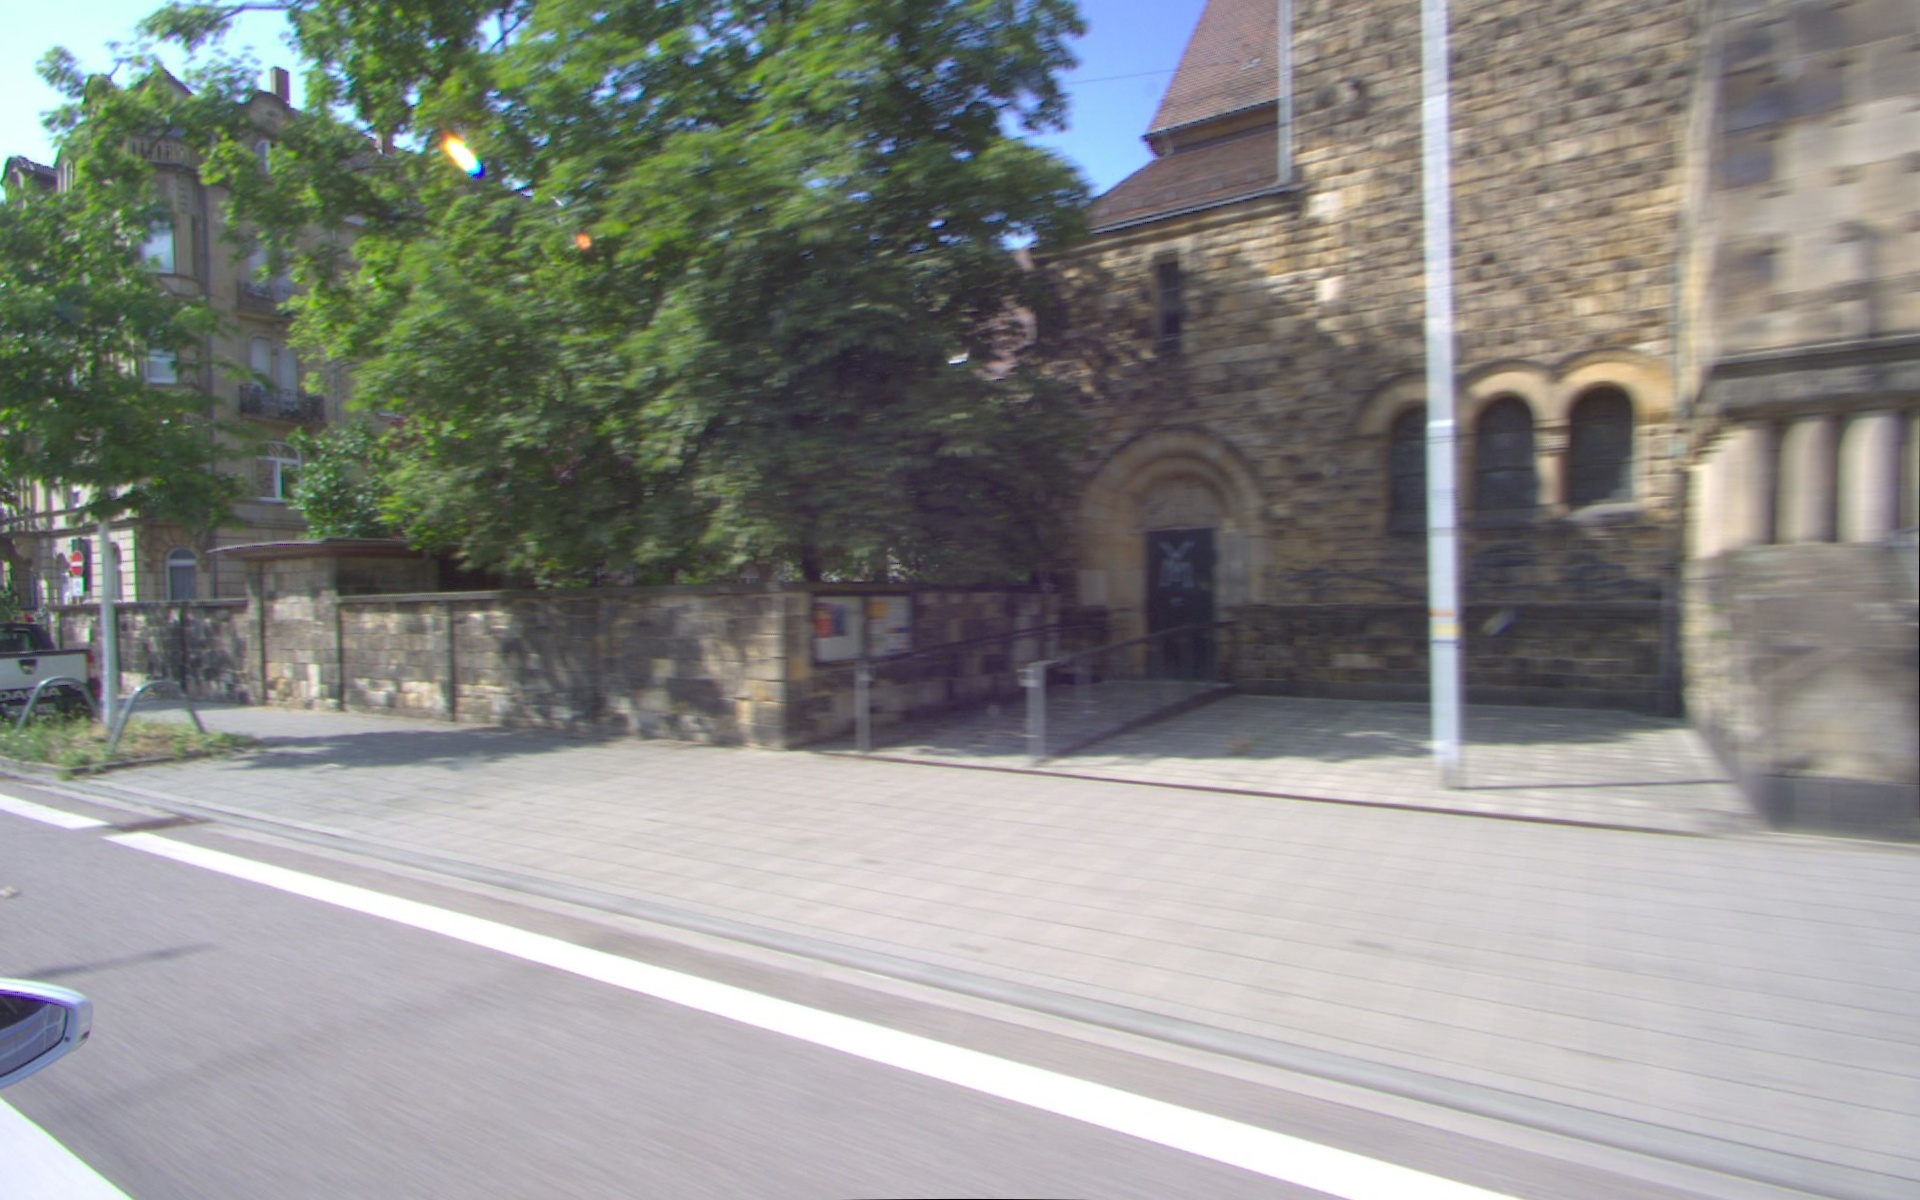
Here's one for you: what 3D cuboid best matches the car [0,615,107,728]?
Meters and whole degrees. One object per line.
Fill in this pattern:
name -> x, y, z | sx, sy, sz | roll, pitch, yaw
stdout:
car -> -13.676, 0.946, 14.358 | 3.800, 1.434, 1.661 | 0, -1, 41
